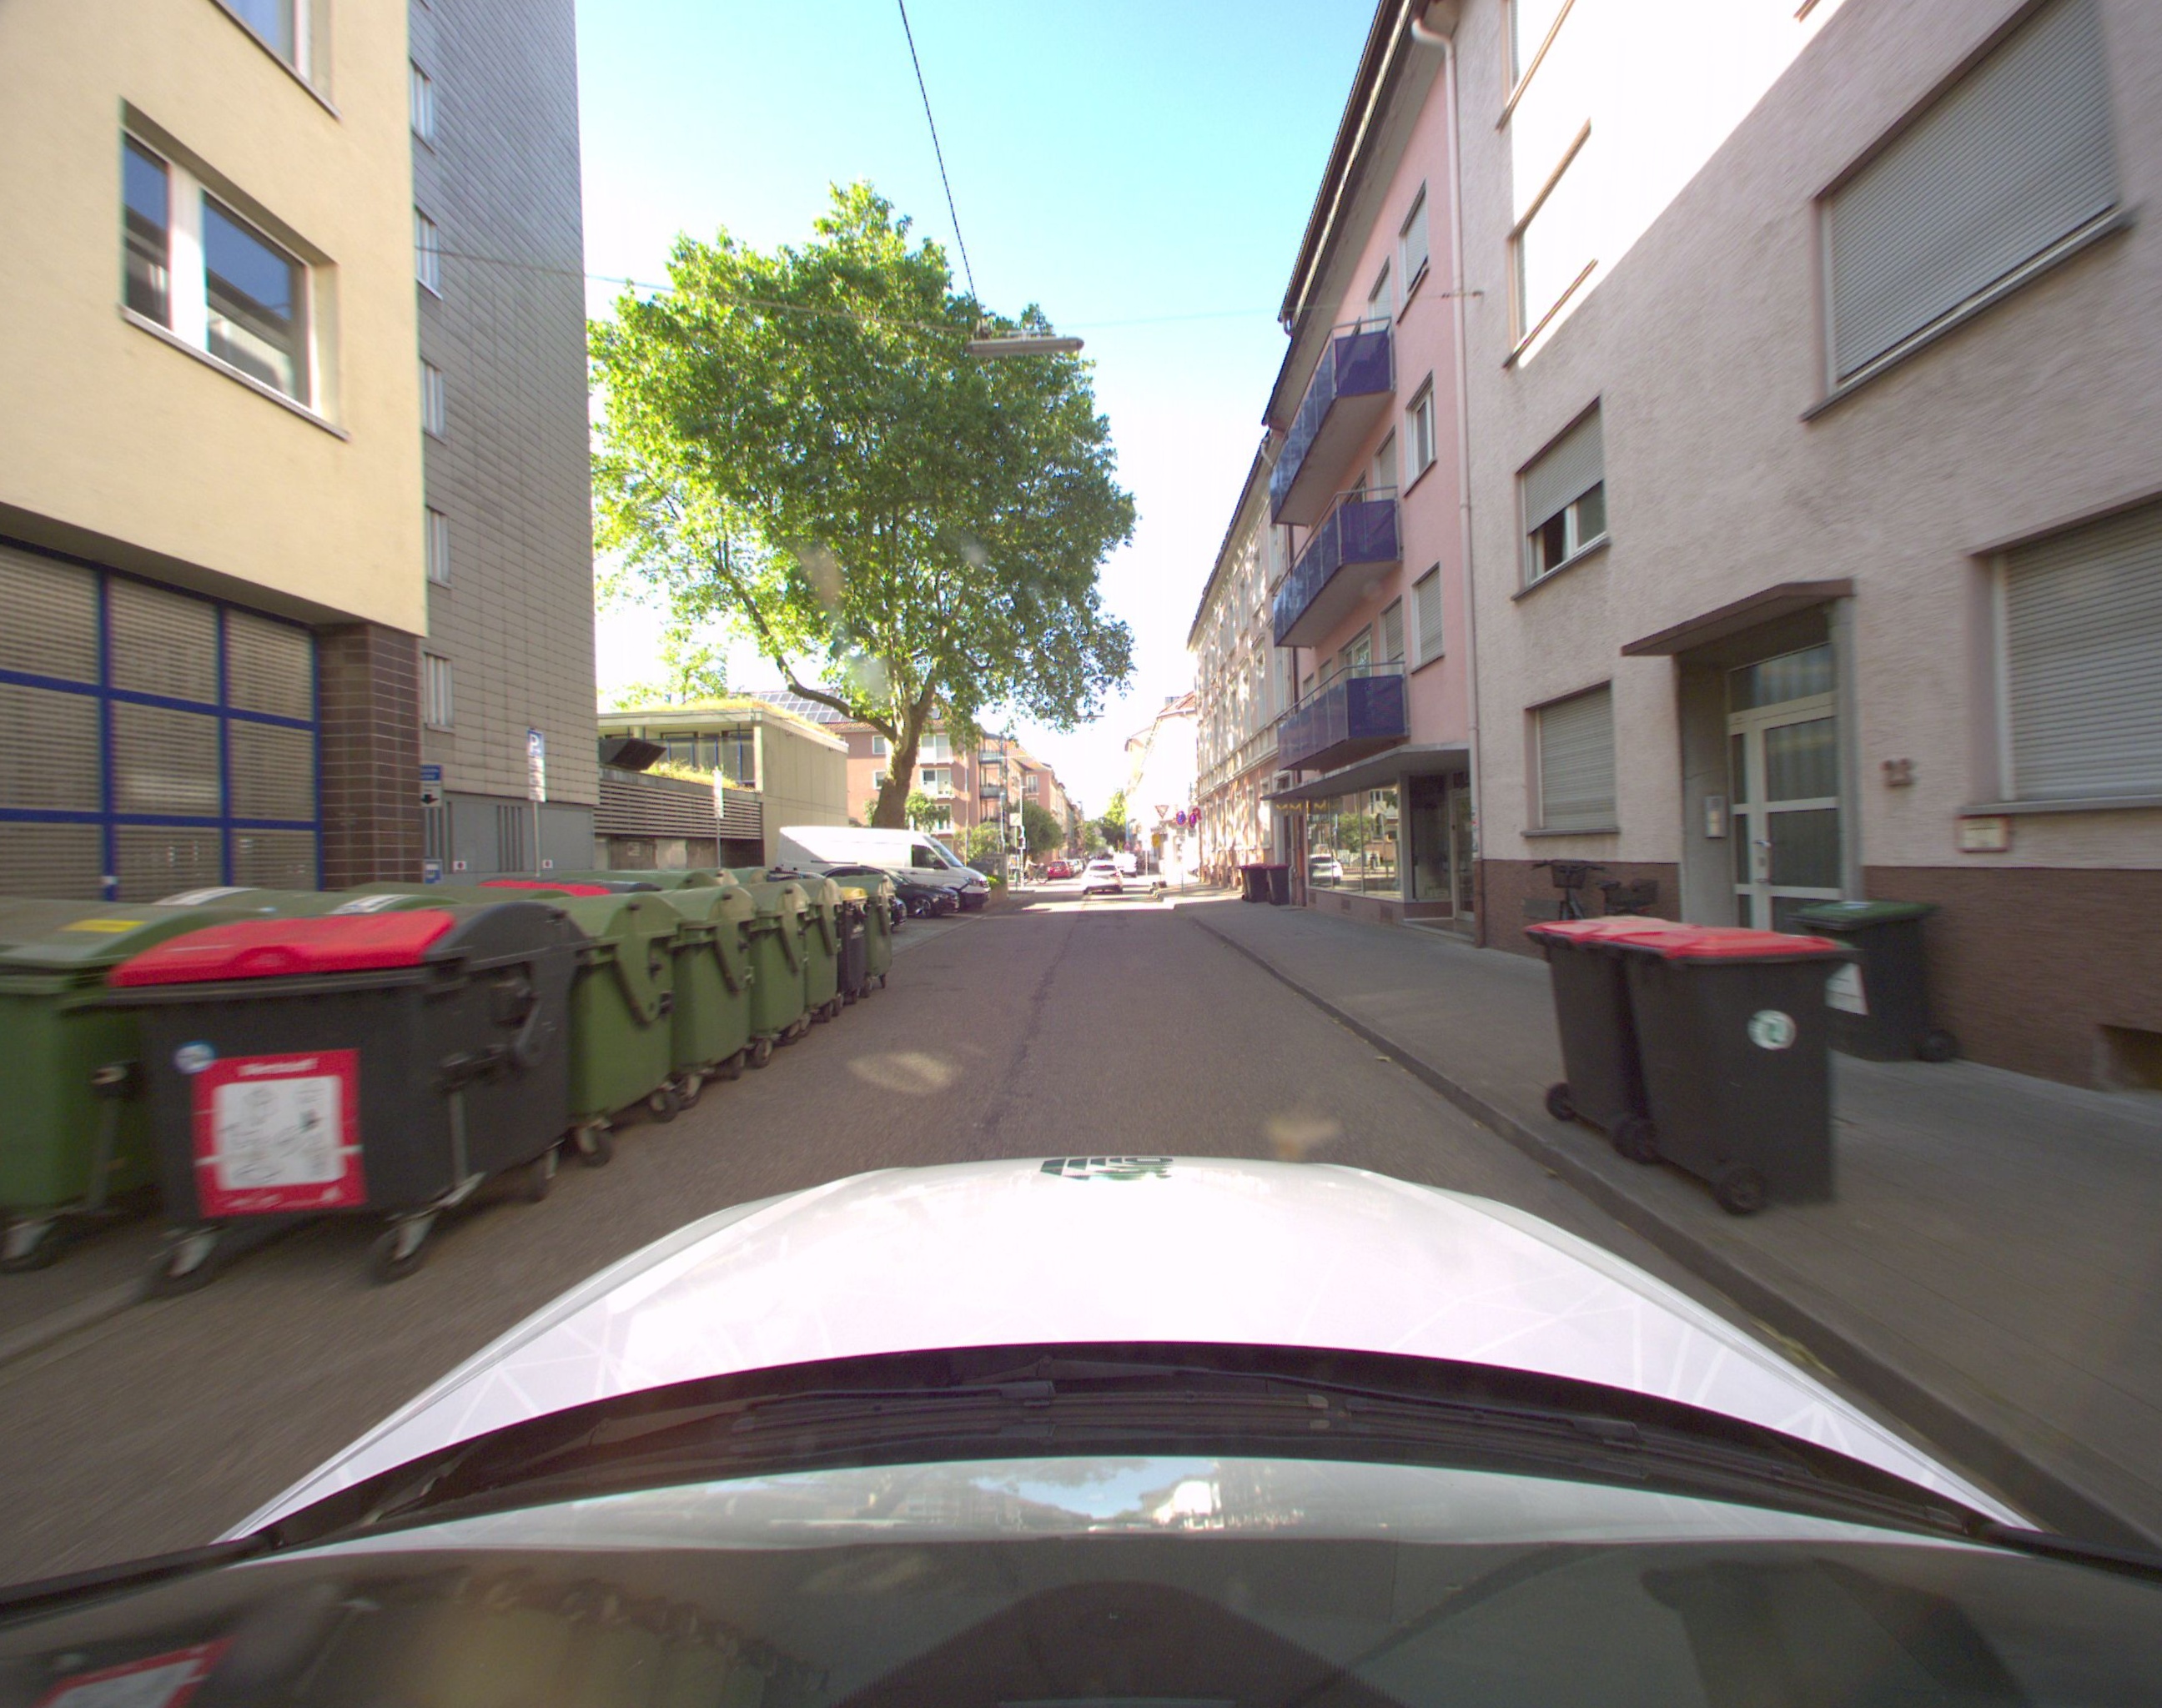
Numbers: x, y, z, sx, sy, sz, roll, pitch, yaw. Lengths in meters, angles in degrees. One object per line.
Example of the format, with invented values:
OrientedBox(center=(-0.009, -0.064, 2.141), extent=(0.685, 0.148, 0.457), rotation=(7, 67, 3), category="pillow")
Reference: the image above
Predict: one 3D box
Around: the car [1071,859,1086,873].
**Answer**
OrientedBox(center=(-0.284, 1.423, 95.319), extent=(1.566, 1.585, 3.613), rotation=(-2, -1, 2), category="car")

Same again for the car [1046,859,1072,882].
OrientedBox(center=(-1.666, 1.253, 63.108), extent=(1.763, 1.589, 3.727), rotation=(-2, 0, 1), category="car")

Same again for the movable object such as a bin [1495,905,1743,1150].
OrientedBox(center=(2.690, 0.833, 4.155), extent=(0.765, 1.086, 0.693), rotation=(-2, -1, 2), category="movable object such as a bin")

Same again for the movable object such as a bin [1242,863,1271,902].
OrientedBox(center=(5.081, 0.827, 23.587), extent=(0.698, 1.073, 0.597), rotation=(-2, -1, 3), category="movable object such as a bin")

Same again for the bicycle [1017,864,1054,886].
OrientedBox(center=(-2.811, 1.270, 50.388), extent=(2.155, 1.255, 0.834), rotation=(-2, -1, 2), category="bicycle")

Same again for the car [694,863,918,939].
OrientedBox(center=(-6.170, 1.033, 18.666), extent=(4.452, 1.610, 1.915), rotation=(0, -1, -1), category="car")

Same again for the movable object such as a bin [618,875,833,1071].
OrientedBox(center=(-2.970, 0.952, 6.946), extent=(1.338, 1.499, 1.018), rotation=(-2, -1, 1), category="movable object such as a bin")

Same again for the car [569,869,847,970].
OrientedBox(center=(-6.224, 1.063, 13.920), extent=(3.862, 1.505, 1.827), rotation=(-1, -1, 0), category="car")

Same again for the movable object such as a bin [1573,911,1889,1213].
OrientedBox(center=(2.675, 0.814, 3.442), extent=(0.729, 1.081, 0.704), rotation=(-2, -1, 2), category="movable object such as a bin")

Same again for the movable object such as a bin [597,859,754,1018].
OrientedBox(center=(-4.570, 0.907, 9.299), extent=(1.225, 1.653, 1.172), rotation=(-2, -1, -5), category="movable object such as a bin")

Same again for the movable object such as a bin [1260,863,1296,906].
OrientedBox(center=(5.228, 0.798, 21.638), extent=(0.727, 1.104, 0.693), rotation=(-2, -1, -1), category="movable object such as a bin")

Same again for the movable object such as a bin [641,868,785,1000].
OrientedBox(center=(-4.672, 0.981, 10.459), extent=(1.350, 1.549, 1.119), rotation=(-2, -1, -5), category="movable object such as a bin")

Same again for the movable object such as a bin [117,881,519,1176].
OrientedBox(center=(-4.437, 0.942, 4.882), extent=(1.301, 1.499, 1.157), rotation=(-2, -1, 1), category="movable object such as a bin")

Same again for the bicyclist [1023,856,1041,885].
OrientedBox(center=(-3.031, 1.009, 50.397), extent=(0.921, 1.720, 0.943), rotation=(-2, -1, 3), category="bicyclist")

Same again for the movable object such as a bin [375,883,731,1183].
OrientedBox(center=(-3.043, 0.969, 4.866), extent=(1.329, 1.484, 1.094), rotation=(-4, -1, 1), category="movable object such as a bin")

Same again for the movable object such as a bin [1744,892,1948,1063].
OrientedBox(center=(4.733, 0.735, 5.089), extent=(0.595, 0.951, 0.682), rotation=(-2, -1, 2), category="movable object such as a bin")

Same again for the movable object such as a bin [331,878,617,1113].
OrientedBox(center=(-4.354, 0.959, 5.957), extent=(1.297, 1.522, 1.018), rotation=(-2, -1, 1), category="movable object such as a bin")

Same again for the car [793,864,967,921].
OrientedBox(center=(-5.723, 1.078, 23.608), extent=(4.481, 1.471, 1.930), rotation=(1, 0, 2), category="car")

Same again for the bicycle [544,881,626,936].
OrientedBox(center=(-11.451, 1.221, 18.876), extent=(0.607, 1.124, 2.039), rotation=(-1, 0, 1), category="bicycle")

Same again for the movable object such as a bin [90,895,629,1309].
OrientedBox(center=(-3.082, 0.970, 3.692), extent=(1.315, 1.450, 1.187), rotation=(-4, -1, 1), category="movable object such as a bin")

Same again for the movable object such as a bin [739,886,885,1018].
OrientedBox(center=(-2.966, 1.052, 9.105), extent=(1.236, 1.322, 1.046), rotation=(-2, -1, 1), category="movable object such as a bin")

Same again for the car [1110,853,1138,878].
OrientedBox(center=(3.477, 0.923, 66.232), extent=(1.937, 1.948, 4.076), rotation=(-1, -1, -1), category="car")

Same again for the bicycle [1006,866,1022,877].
OrientedBox(center=(-6.132, 1.584, 74.483), extent=(0.607, 0.932, 1.896), rotation=(-2, -1, -31), category="bicycle")

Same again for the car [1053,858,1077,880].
OrientedBox(center=(-1.307, 1.246, 68.703), extent=(1.713, 1.683, 3.728), rotation=(-2, -1, 2), category="car")

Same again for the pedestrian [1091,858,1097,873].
OrientedBox(center=(1.593, 1.428, 102.209), extent=(0.645, 1.797, 0.639), rotation=(-2, -1, 2), category="pedestrian")

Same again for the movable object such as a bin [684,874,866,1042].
OrientedBox(center=(-2.955, 0.967, 8.014), extent=(1.329, 1.491, 1.082), rotation=(-2, -1, 1), category="movable object such as a bin")

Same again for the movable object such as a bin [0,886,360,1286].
OrientedBox(center=(-4.481, 0.925, 3.723), extent=(1.292, 1.498, 1.179), rotation=(-2, -1, 1), category="movable object such as a bin")

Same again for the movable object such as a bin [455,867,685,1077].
OrientedBox(center=(-4.298, 0.943, 6.959), extent=(1.290, 1.620, 1.018), rotation=(-2, -1, 1), category="movable object such as a bin")

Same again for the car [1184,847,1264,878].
OrientedBox(center=(9.600, 0.606, 54.788), extent=(4.844, 1.929, 2.011), rotation=(-2, -3, 26), category="car")

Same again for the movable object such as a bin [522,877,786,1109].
OrientedBox(center=(-3.020, 0.935, 5.911), extent=(1.343, 1.487, 1.003), rotation=(-2, -1, 1), category="movable object such as a bin")

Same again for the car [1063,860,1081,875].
OrientedBox(center=(-0.891, 1.447, 85.014), extent=(1.596, 1.477, 3.569), rotation=(-2, -1, 2), category="car")

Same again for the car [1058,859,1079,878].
OrientedBox(center=(-1.142, 1.304, 74.216), extent=(1.629, 1.656, 3.787), rotation=(-2, -1, 2), category="car")

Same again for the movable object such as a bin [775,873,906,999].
OrientedBox(center=(-2.966, 0.980, 10.206), extent=(1.297, 1.451, 1.116), rotation=(-2, -1, -2), category="movable object such as a bin")

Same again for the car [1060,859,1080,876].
OrientedBox(center=(-1.053, 1.382, 81.004), extent=(1.713, 1.576, 3.728), rotation=(-2, -1, 2), category="car")

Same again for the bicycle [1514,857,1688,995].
OrientedBox(center=(4.898, 0.619, 7.828), extent=(0.451, 1.134, 1.921), rotation=(-5, -1, 3), category="bicycle")

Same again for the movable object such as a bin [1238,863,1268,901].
OrientedBox(center=(5.101, 0.830, 24.219), extent=(0.742, 1.086, 0.635), rotation=(-2, -1, 3), category="movable object such as a bin")

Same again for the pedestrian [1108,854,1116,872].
OrientedBox(center=(3.654, 1.054, 96.234), extent=(0.768, 2.118, 0.835), rotation=(-2, -1, 2), category="pedestrian")

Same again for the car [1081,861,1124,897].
OrientedBox(center=(0.983, 1.121, 37.764), extent=(1.817, 1.514, 3.824), rotation=(-2, 0, 1), category="car")

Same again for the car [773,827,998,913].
OrientedBox(center=(-6.214, 0.506, 26.426), extent=(6.711, 2.555, 2.147), rotation=(1, -1, 3), category="car")

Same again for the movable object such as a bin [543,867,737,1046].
OrientedBox(center=(-4.283, 0.949, 8.024), extent=(1.284, 1.604, 1.082), rotation=(-2, -1, 1), category="movable object such as a bin")
